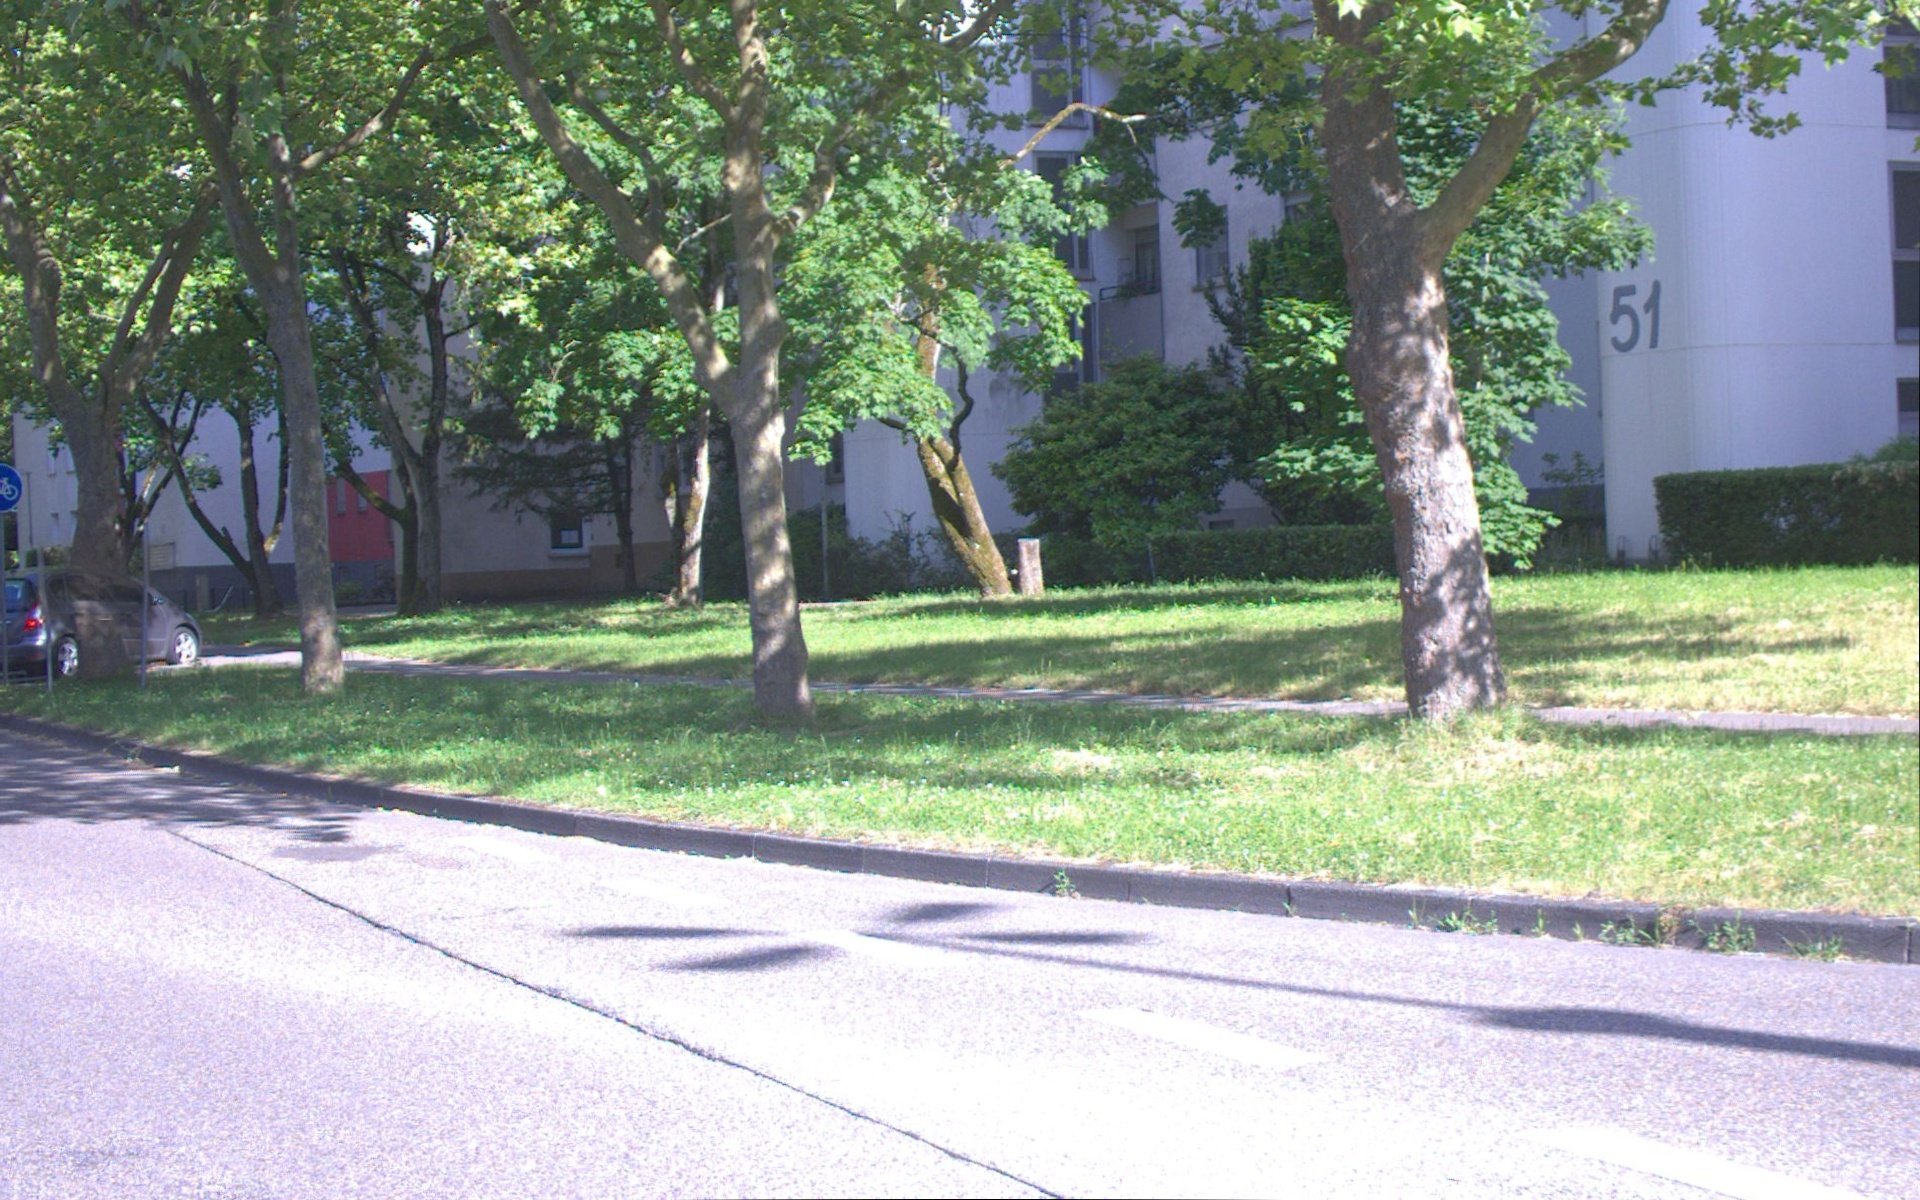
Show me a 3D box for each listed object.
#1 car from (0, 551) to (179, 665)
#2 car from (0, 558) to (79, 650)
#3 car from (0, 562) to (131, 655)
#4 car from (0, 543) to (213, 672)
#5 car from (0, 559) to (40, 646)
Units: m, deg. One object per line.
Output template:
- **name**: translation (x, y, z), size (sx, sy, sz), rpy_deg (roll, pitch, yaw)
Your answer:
- **car**: translation (-13.672, 0.121, 51.925), size (1.796, 1.486, 3.580), rpy_deg (-2, 2, 24)
- **car**: translation (-16.774, 0.133, 57.701), size (1.796, 1.440, 3.884), rpy_deg (-3, 2, 22)
- **car**: translation (-15.229, 0.176, 54.460), size (1.796, 1.313, 4.142), rpy_deg (-2, 2, 26)
- **car**: translation (-12.503, 0.100, 48.663), size (1.796, 1.587, 3.722), rpy_deg (-2, 2, 25)
- **car**: translation (-18.281, 0.143, 60.734), size (1.796, 1.505, 4.174), rpy_deg (-3, 2, 19)
